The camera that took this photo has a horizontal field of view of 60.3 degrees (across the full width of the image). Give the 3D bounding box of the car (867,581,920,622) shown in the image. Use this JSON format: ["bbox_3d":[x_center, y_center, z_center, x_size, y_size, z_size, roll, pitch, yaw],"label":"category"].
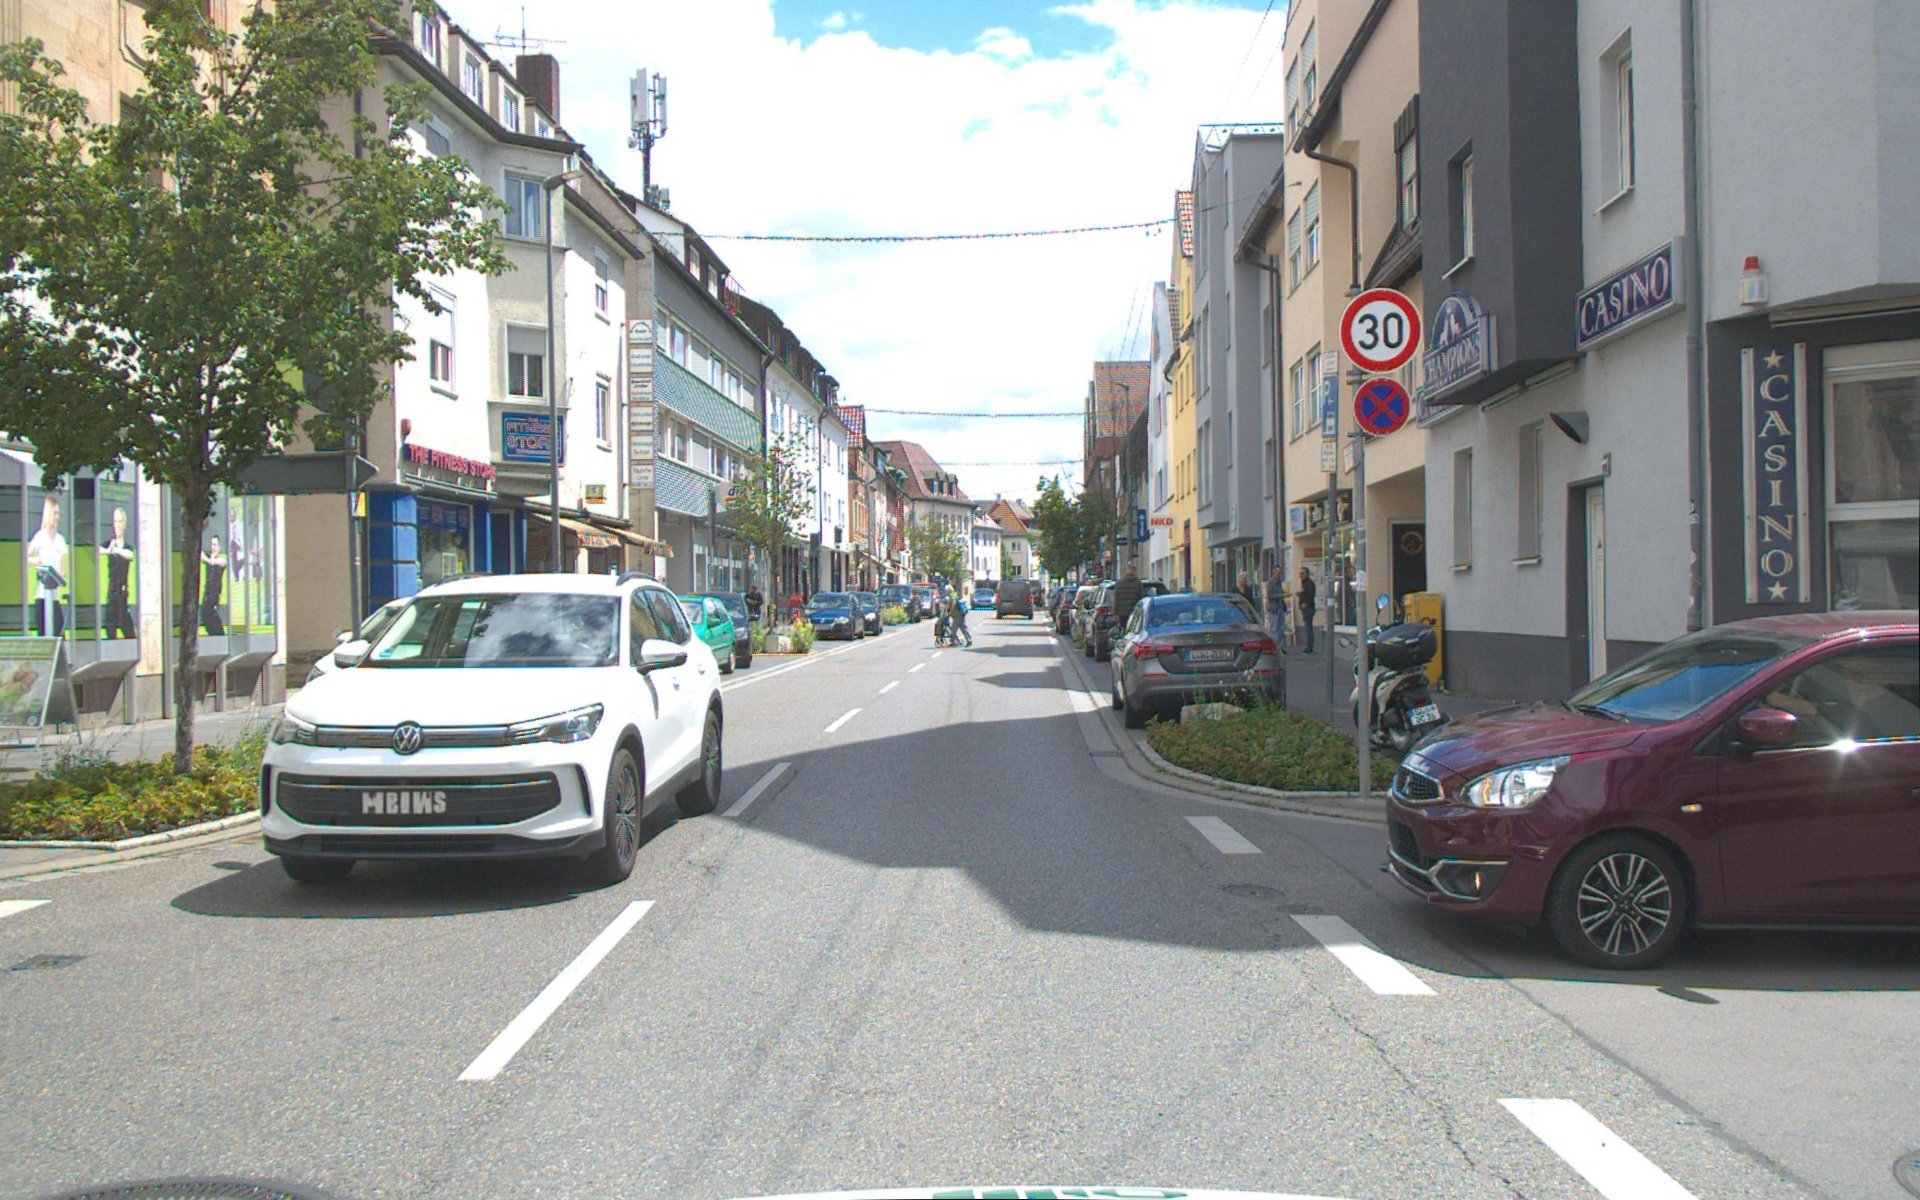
[{"bbox_3d":[-2.989,0.084,75.340,1.778,1.786,4.671,1,0,5],"label":"car"}]

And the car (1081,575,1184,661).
[{"bbox_3d":[3.559,0.336,34.837,1.762,1.631,4.205,-2,0,1],"label":"car"}]

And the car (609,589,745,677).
[{"bbox_3d":[-4.962,0.557,29.401,1.552,1.439,3.670,1,0,4],"label":"car"}]

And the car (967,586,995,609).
[{"bbox_3d":[1.566,-0.201,120.720,1.865,1.591,4.647,1,-1,3],"label":"car"}]

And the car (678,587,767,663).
[{"bbox_3d":[-4.848,0.505,34.140,1.565,1.471,3.553,1,0,-4],"label":"car"}]

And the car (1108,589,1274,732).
[{"bbox_3d":[2.571,0.638,19.220,1.671,1.445,4.321,1,0,5],"label":"car"}]

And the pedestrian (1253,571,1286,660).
[{"bbox_3d":[6.156,0.301,32.889,0.524,1.748,0.606,1,-1,1],"label":"pedestrian"}]

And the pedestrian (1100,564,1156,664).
[{"bbox_3d":[3.276,0.272,32.349,0.955,1.896,0.865,-2,-1,1],"label":"pedestrian"}]

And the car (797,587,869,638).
[{"bbox_3d":[-3.981,0.388,52.506,1.753,1.539,4.714,0,0,2],"label":"car"}]

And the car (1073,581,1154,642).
[{"bbox_3d":[4.037,0.302,44.109,1.655,1.465,4.295,-3,0,-1],"label":"car"}]

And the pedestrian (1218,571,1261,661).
[{"bbox_3d":[5.494,0.308,32.553,0.728,1.748,0.656,0,-1,1],"label":"pedestrian"}]

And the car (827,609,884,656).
[{"bbox_3d":[-3.673,1.128,58.604,1.753,1.529,4.177,1,0,-1],"label":"car"}]

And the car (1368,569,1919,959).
[{"bbox_3d":[3.878,0.691,7.528,3.669,1.557,1.537,1,-1,1],"label":"car"}]

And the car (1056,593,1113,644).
[{"bbox_3d":[4.083,0.582,54.702,1.654,1.497,4.525,1,2,2],"label":"car"}]

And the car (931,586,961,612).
[{"bbox_3d":[-0.903,-0.074,108.854,1.762,1.626,4.390,0,0,3],"label":"car"}]

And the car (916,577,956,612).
[{"bbox_3d":[-1.255,-0.262,88.393,1.778,1.786,4.466,1,0,4],"label":"car"}]

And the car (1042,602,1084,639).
[{"bbox_3d":[4.661,0.916,75.200,1.685,1.604,4.109,1,0,1],"label":"car"}]

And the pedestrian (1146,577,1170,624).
[{"bbox_3d":[6.871,0.017,57.412,0.734,1.580,0.726,-1,-1,2],"label":"pedestrian"}]

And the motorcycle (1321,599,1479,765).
[{"bbox_3d":[3.687,0.645,14.081,0.645,1.281,2.375,1,-1,-1],"label":"motorcycle"}]

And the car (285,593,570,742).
[{"bbox_3d":[-5.676,0.672,18.171,1.808,1.422,4.036,1,0,0],"label":"car"}]

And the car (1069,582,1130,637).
[{"bbox_3d":[4.223,0.295,50.368,1.654,1.601,3.757,1,0,2],"label":"car"}]

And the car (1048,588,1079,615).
[{"bbox_3d":[5.967,0.115,95.114,1.685,1.520,4.111,1,0,4],"label":"car"}]

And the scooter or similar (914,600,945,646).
[{"bbox_3d":[-0.771,0.582,42.224,0.766,1.145,0.630,1,-1,-2],"label":"scooter or similar"}]

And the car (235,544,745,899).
[{"bbox_3d":[-2.522,0.598,9.993,1.750,1.669,4.117,1,0,2],"label":"car"}]

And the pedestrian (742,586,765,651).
[{"bbox_3d":[-5.763,0.509,46.151,0.537,1.788,0.729,1,-1,-1],"label":"pedestrian"}]

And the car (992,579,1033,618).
[{"bbox_3d":[2.633,-0.062,84.012,1.998,1.881,5.000,1,0,1],"label":"car"}]

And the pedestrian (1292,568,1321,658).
[{"bbox_3d":[6.811,0.259,32.499,0.427,1.748,0.537,1,-1,0],"label":"pedestrian"}]

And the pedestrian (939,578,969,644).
[{"bbox_3d":[-0.155,0.279,42.255,0.716,1.646,0.651,1,-1,-2],"label":"pedestrian"}]
